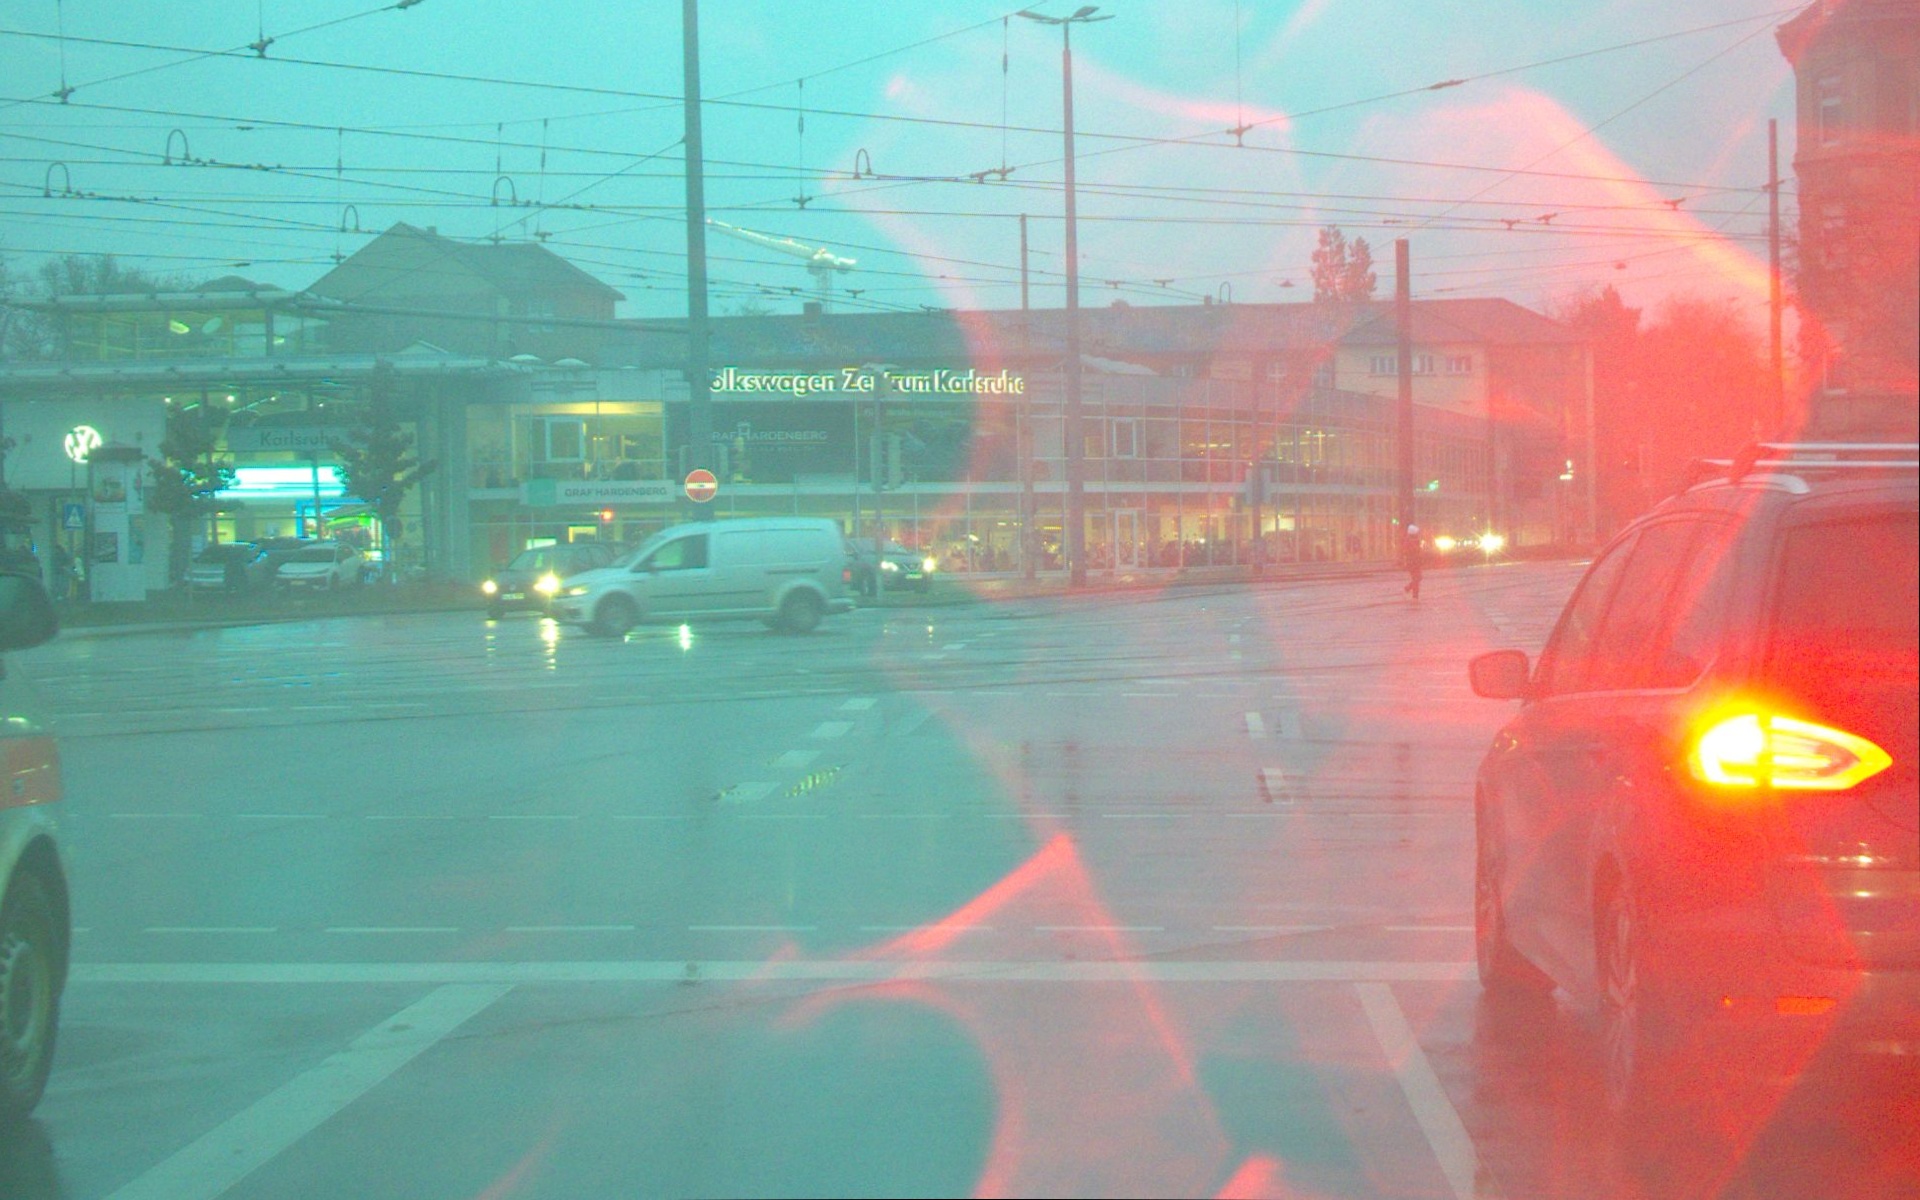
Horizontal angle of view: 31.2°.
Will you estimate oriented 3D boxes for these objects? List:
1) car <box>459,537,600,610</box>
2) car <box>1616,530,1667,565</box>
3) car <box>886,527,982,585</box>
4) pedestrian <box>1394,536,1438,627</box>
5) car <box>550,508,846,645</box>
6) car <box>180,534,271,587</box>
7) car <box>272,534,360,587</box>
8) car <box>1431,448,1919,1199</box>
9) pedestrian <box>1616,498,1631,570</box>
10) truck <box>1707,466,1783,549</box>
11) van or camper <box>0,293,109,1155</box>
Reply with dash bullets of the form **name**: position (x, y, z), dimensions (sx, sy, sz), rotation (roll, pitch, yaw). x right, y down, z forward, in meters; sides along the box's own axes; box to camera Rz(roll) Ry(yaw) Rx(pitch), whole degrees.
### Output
- **car**: position (-8.894, -0.572, 71.305), dimensions (1.814, 1.441, 3.999), rotation (-1, 1, 10)
- **car**: position (32.272, -2.510, 162.772), dimensions (1.864, 1.596, 3.783), rotation (-1, 1, 18)
- **car**: position (-0.645, -1.141, 89.166), dimensions (1.814, 1.441, 3.999), rotation (-1, 1, 10)
- **pedestrian**: position (9.352, -0.380, 70.542), dimensions (0.591, 1.834, 0.619), rotation (-2, 1, -34)
- **car**: position (-4.193, -0.346, 54.902), dimensions (4.401, 2.007, 1.911), rotation (1, -3, -16)
- **car**: position (-23.313, -1.254, 109.209), dimensions (1.862, 1.596, 4.000), rotation (-1, 1, 2)
- **car**: position (-20.388, -1.265, 108.940), dimensions (1.862, 1.596, 4.000), rotation (-1, 1, 2)
- **car**: position (2.482, 0.501, 9.980), dimensions (1.778, 1.794, 4.424), rotation (0, 1, 2)
- **pedestrian**: position (18.454, -1.837, 95.612), dimensions (0.344, 2.007, 0.418), rotation (-1, 1, 16)
- **truck**: position (26.113, -3.054, 114.324), dimensions (1.995, 2.682, 5.111), rotation (-1, 1, 18)
- **van or camper**: position (-3.478, 0.316, 6.861), dimensions (2.202, 2.102, 4.987), rotation (1, 1, 1)
